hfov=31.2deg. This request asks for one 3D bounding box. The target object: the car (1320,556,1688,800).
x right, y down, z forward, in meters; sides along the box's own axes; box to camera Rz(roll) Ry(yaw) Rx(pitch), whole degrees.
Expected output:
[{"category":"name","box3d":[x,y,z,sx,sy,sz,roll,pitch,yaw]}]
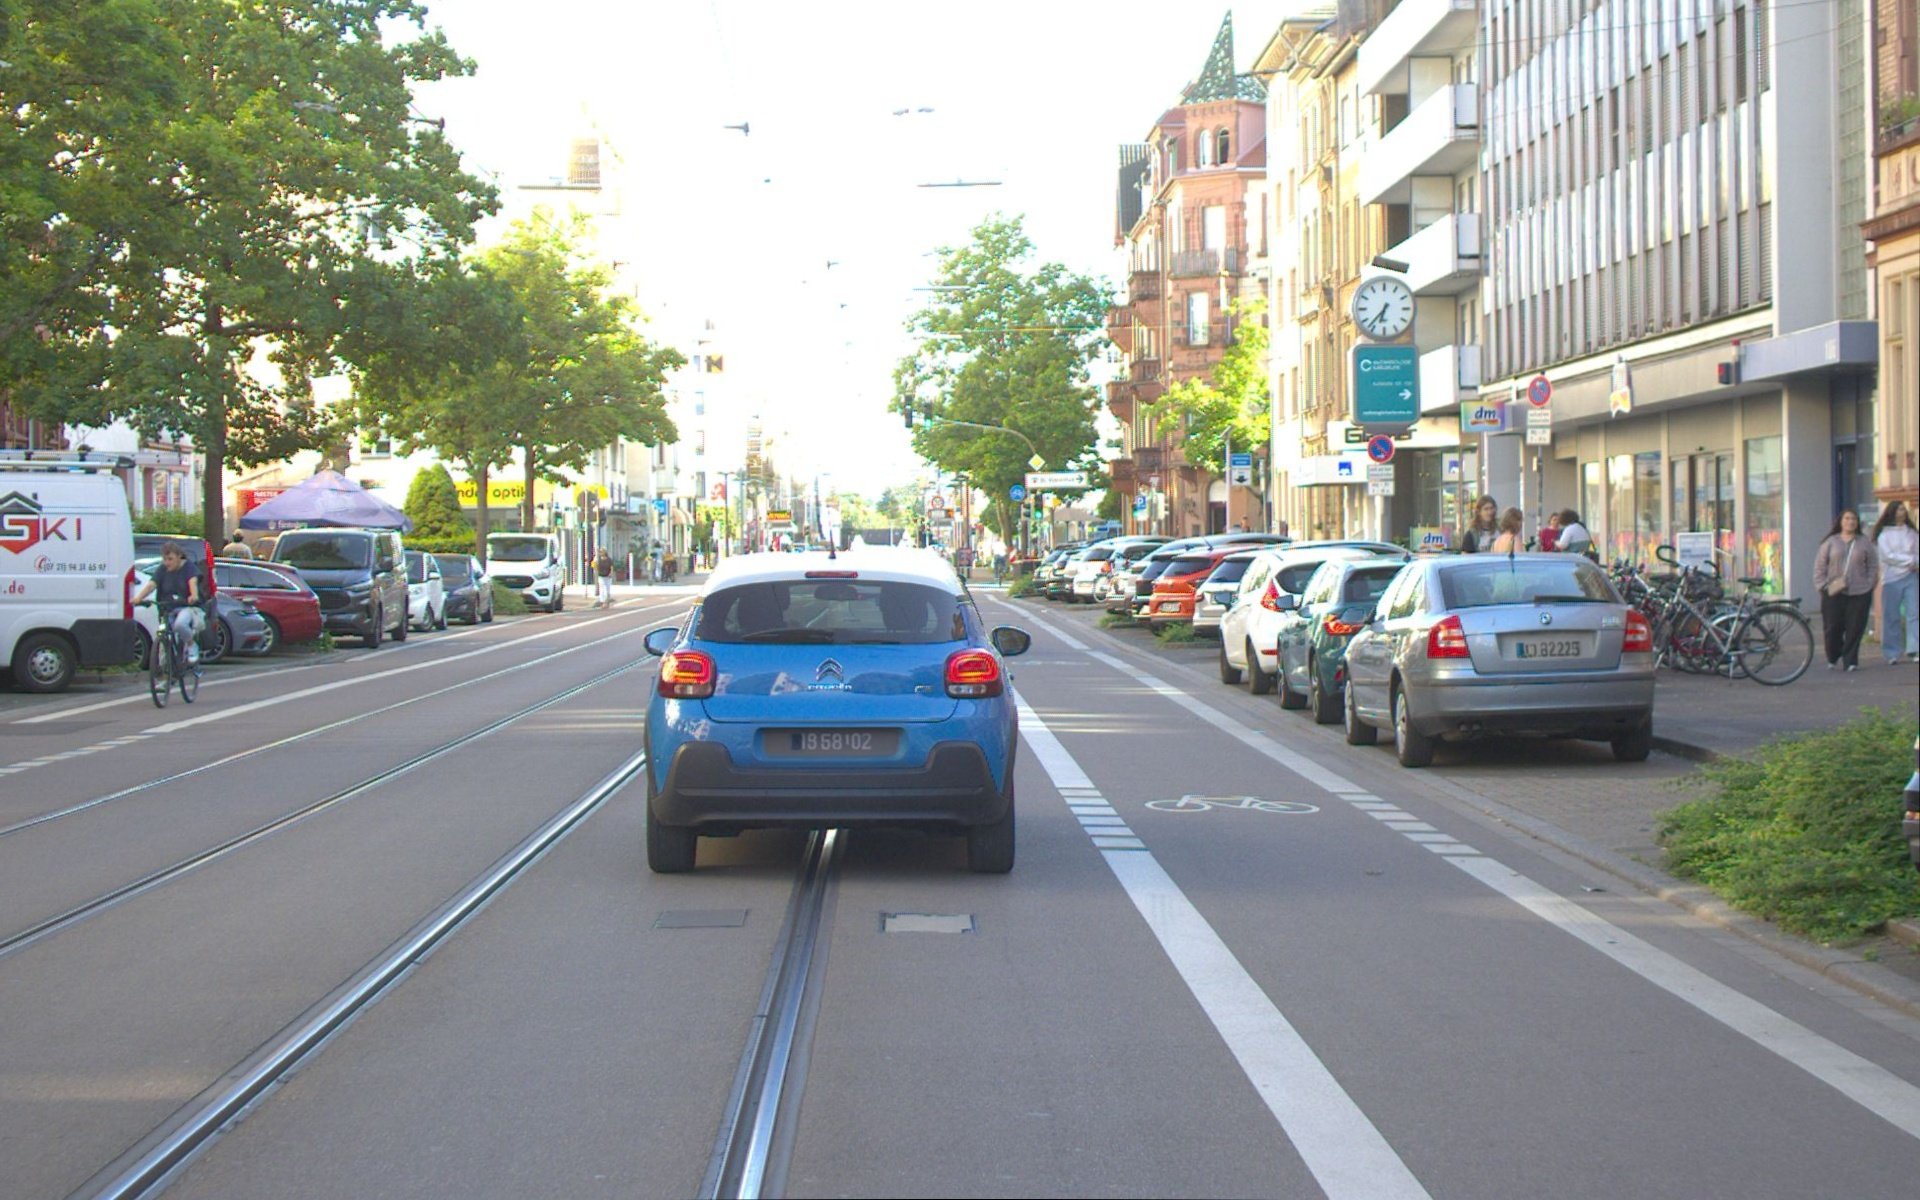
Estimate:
[{"category":"car","box3d":[3.812,0.486,24.901,1.873,1.590,4.719,0,1,0]}]

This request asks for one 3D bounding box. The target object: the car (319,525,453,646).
[{"category":"car","box3d":[-9.738,-0.266,58.606,1.747,1.967,5.241,0,1,-4]}]

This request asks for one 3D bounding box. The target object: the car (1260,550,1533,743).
[{"category":"car","box3d":[3.787,0.368,30.473,1.873,1.590,4.000,0,1,0]}]

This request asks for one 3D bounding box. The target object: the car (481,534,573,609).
[{"category":"car","box3d":[-10.893,-0.729,86.713,1.831,1.841,4.214,0,1,-1]}]

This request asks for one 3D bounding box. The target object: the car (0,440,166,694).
[{"category":"car","box3d":[-11.572,-0.363,37.486,5.370,2.739,1.806,0,1,-30]}]

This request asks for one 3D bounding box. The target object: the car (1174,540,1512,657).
[{"category":"car","box3d":[5.134,-0.032,45.924,4.439,1.503,1.536,0,1,-30]}]

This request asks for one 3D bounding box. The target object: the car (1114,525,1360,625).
[{"category":"car","box3d":[4.749,-0.427,58.820,3.719,1.646,2.047,0,1,-33]}]

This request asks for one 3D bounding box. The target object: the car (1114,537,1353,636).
[{"category":"car","box3d":[4.425,-0.222,55.576,3.441,1.550,1.824,0,1,-32]}]

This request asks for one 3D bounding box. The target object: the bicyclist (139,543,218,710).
[{"category":"bicyclist","box3d":[-7.936,0.267,34.927,0.634,1.676,0.727,0,0,-1]}]

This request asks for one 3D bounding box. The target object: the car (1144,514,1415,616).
[{"category":"car","box3d":[4.899,-0.529,52.707,3.719,1.515,1.968,0,1,-33]}]

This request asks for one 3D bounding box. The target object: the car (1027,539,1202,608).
[{"category":"car","box3d":[3.608,-0.619,80.480,3.653,1.568,1.861,0,1,-29]}]

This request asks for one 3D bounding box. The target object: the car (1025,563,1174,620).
[{"category":"car","box3d":[3.804,-0.231,93.920,3.653,1.529,1.789,0,1,-20]}]

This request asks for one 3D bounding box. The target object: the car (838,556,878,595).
[{"category":"car","box3d":[-3.752,-0.916,127.112,1.423,1.427,3.139,0,1,0]}]

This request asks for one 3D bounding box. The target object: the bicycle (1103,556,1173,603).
[{"category":"bicycle","box3d":[3.983,-0.457,77.194,0.553,1.044,1.807,0,1,-36]}]

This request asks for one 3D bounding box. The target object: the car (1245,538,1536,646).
[{"category":"car","box3d":[6.140,-0.127,48.990,3.774,1.482,1.838,0,1,-30]}]

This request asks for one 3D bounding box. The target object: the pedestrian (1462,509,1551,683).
[{"category":"pedestrian","box3d":[5.109,-0.040,32.160,0.712,1.601,0.654,0,0,-1]}]

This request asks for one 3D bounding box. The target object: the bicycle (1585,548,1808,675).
[{"category":"bicycle","box3d":[7.168,0.112,33.516,2.019,1.217,0.664,0,0,-1]}]

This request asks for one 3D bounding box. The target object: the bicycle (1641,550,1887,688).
[{"category":"bicycle","box3d":[7.267,0.165,31.127,2.056,1.217,0.664,-1,0,-2]}]

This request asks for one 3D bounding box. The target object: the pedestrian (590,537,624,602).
[{"category":"pedestrian","box3d":[-9.413,-0.814,91.632,0.729,1.720,0.628,0,0,-25]}]

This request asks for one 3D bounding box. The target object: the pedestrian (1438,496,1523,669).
[{"category":"pedestrian","box3d":[5.079,-0.171,33.572,0.712,1.666,0.654,0,0,-1]}]

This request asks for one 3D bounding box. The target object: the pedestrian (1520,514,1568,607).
[{"category":"pedestrian","box3d":[10.057,-0.684,59.212,0.692,1.582,0.678,0,0,-1]}]

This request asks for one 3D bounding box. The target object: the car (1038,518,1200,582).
[{"category":"car","box3d":[4.037,-1.262,87.363,3.653,1.568,1.861,0,1,-20]}]

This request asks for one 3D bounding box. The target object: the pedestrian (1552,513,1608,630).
[{"category":"pedestrian","box3d":[9.354,-0.437,51.883,0.692,1.750,0.678,0,0,-1]}]

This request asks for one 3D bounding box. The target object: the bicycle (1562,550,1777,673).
[{"category":"bicycle","box3d":[7.122,0.115,34.555,2.019,1.217,0.664,0,0,-1]}]

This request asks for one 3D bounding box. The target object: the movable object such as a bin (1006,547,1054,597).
[{"category":"movable object such as a bin","box3d":[2.094,-0.846,103.189,1.394,1.478,1.655,0,0,-1]}]

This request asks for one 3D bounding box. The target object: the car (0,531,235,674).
[{"category":"car","box3d":[-11.667,0.021,44.955,3.986,1.810,1.713,0,1,-26]}]

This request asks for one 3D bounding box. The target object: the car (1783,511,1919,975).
[{"category":"car","box3d":[5.301,0.491,12.636,4.303,1.590,1.982,0,1,-32]}]

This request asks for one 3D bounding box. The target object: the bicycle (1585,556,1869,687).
[{"category":"bicycle","box3d":[7.252,0.197,32.559,2.538,1.217,0.664,0,0,-1]}]

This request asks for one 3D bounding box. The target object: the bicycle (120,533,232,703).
[{"category":"bicycle","box3d":[-7.944,0.169,34.921,0.680,1.673,2.097,0,0,-1]}]

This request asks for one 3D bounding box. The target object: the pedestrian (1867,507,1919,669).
[{"category":"pedestrian","box3d":[9.502,-0.120,34.293,0.712,1.601,0.654,0,0,-1]}]

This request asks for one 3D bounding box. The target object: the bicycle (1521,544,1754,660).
[{"category":"bicycle","box3d":[7.220,0.016,36.697,2.358,1.217,0.664,0,0,3]}]

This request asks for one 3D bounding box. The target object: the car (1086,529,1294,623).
[{"category":"car","box3d":[4.117,-0.427,61.475,3.442,1.634,1.684,0,1,-37]}]

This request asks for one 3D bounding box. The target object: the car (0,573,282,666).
[{"category":"car","box3d":[-11.613,0.262,48.371,3.796,1.261,1.516,0,1,-26]}]

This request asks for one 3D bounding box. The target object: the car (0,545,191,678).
[{"category":"car","box3d":[-12.028,0.131,42.200,4.756,1.612,1.712,0,1,-33]}]

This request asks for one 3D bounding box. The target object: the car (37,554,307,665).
[{"category":"car","box3d":[-11.836,0.136,51.606,3.722,1.617,1.789,0,1,-22]}]

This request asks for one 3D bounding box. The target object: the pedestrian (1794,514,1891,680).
[{"category":"pedestrian","box3d":[8.756,-0.032,34.132,0.712,1.601,0.654,-3,0,-1]}]

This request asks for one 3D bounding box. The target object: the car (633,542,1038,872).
[{"category":"car","box3d":[-0.580,0.450,16.815,1.762,1.436,3.557,0,1,-1]}]

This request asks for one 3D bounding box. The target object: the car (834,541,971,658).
[{"category":"car","box3d":[-0.801,-0.026,49.059,1.873,1.590,4.000,0,1,0]}]

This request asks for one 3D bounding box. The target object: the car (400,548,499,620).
[{"category":"car","box3d":[-10.808,-0.347,72.983,1.747,1.482,4.043,0,1,-4]}]

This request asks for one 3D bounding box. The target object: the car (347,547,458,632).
[{"category":"car","box3d":[-10.949,-0.220,67.774,1.747,1.612,4.411,0,1,-4]}]

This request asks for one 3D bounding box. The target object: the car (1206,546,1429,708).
[{"category":"car","box3d":[3.678,0.250,35.989,1.873,1.590,4.000,0,1,0]}]
